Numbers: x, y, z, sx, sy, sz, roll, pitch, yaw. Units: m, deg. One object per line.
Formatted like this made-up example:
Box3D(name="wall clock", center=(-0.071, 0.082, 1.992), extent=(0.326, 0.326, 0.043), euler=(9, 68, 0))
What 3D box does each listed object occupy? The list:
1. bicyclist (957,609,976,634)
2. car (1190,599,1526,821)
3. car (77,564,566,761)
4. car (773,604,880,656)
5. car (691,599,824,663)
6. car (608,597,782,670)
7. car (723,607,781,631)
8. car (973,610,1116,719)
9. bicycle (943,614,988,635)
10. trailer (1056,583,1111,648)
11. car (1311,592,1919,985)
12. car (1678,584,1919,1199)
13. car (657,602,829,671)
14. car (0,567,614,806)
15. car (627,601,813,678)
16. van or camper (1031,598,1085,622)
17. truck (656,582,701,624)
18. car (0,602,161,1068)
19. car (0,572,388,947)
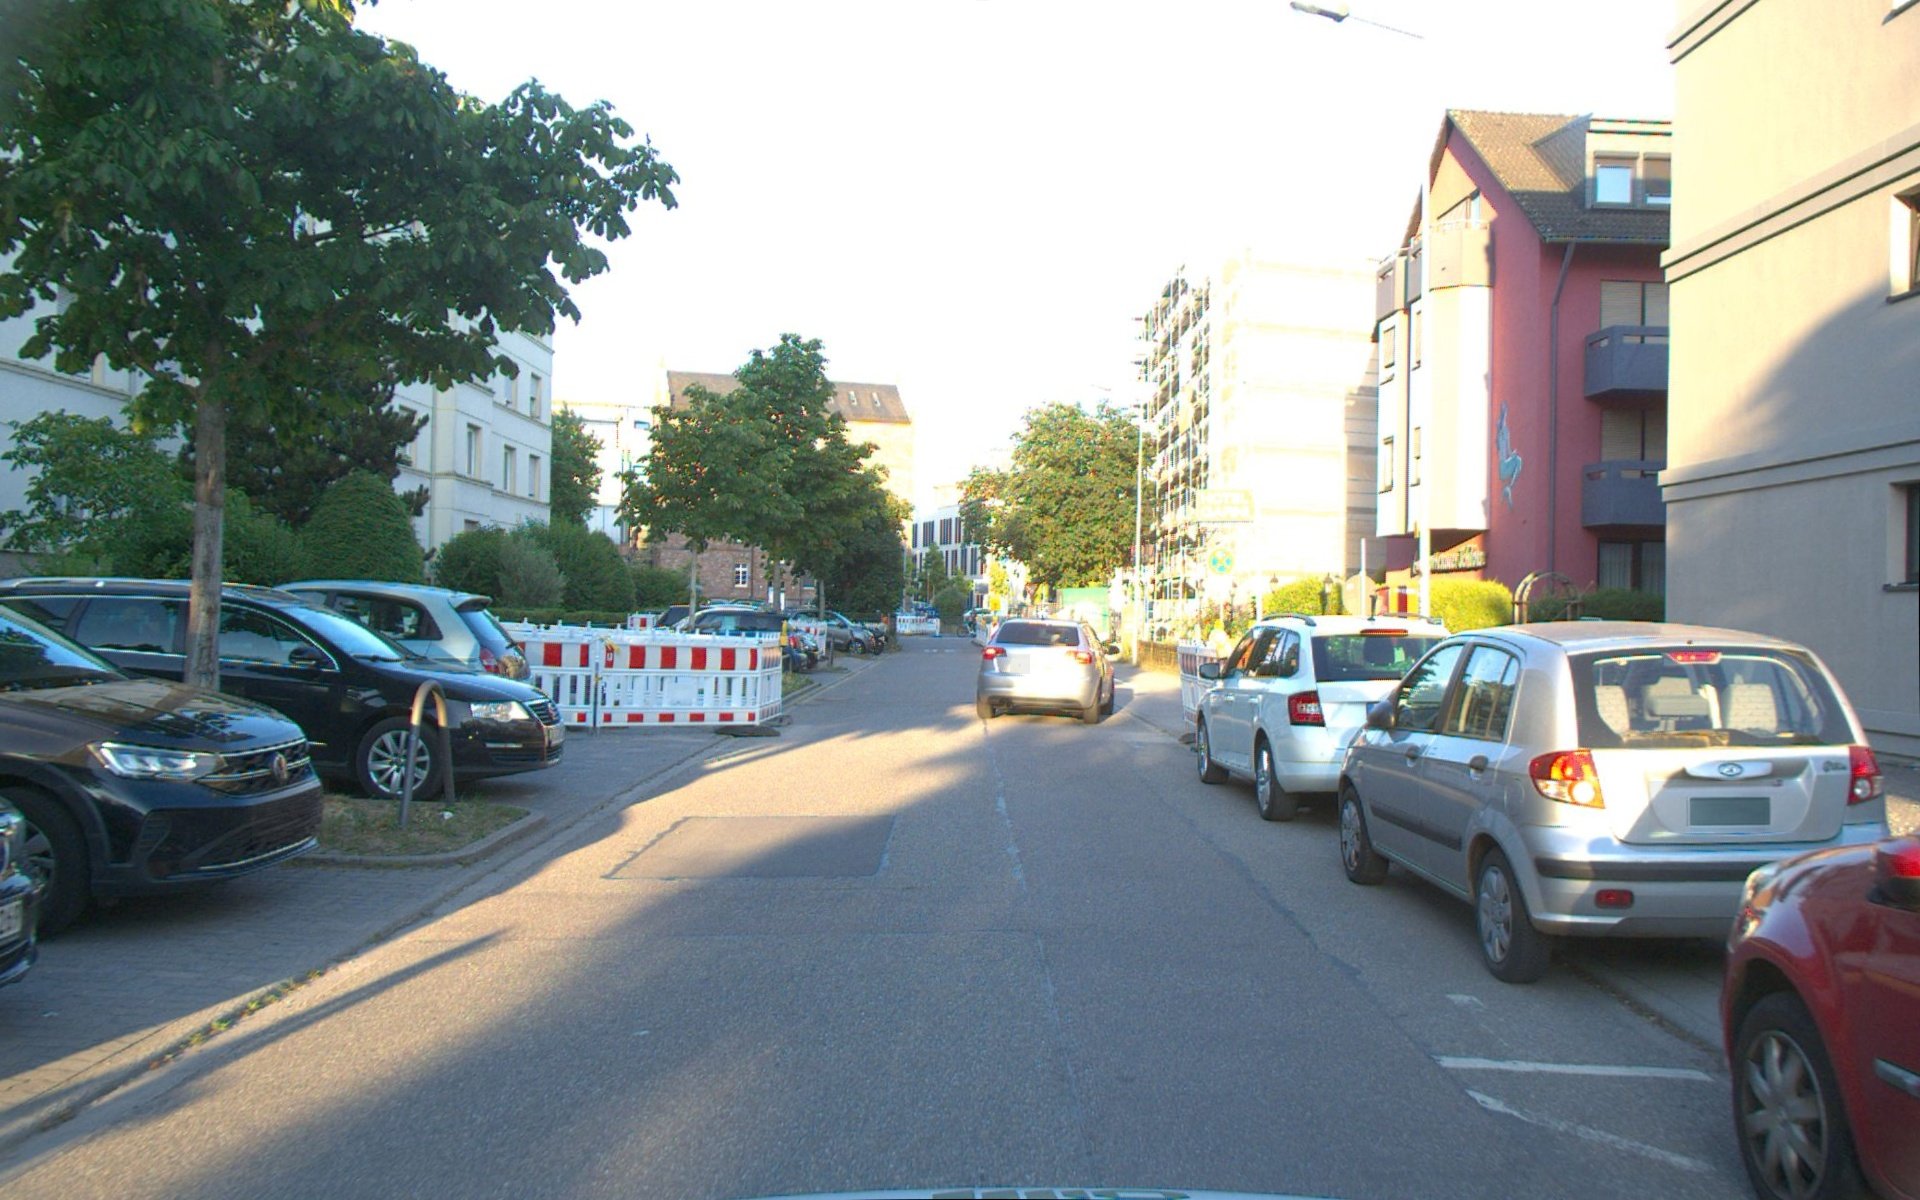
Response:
Box3D(name="bicyclist", center=(0.400, 1.314, 101.623), extent=(1.041, 1.483, 0.790), euler=(1, -1, -8))
Box3D(name="car", center=(2.986, 0.763, 13.235), extent=(1.582, 1.495, 3.995), euler=(1, 0, -2))
Box3D(name="car", center=(-5.592, 0.529, 14.803), extent=(3.623, 1.510, 1.728), euler=(2, 0, 2))
Box3D(name="car", center=(-4.700, 1.064, 58.523), extent=(3.550, 1.584, 1.693), euler=(4, -1, -1))
Box3D(name="car", center=(-5.457, 0.840, 44.915), extent=(3.405, 1.593, 1.727), euler=(2, -2, -3))
Box3D(name="car", center=(-6.001, 0.761, 37.715), extent=(3.601, 1.510, 1.728), euler=(2, -2, 2))
Box3D(name="car", center=(-13.656, 1.241, 108.719), extent=(3.573, 1.530, 1.630), euler=(1, 0, -17))
Box3D(name="car", center=(1.325, 0.876, 24.191), extent=(1.738, 1.421, 4.110), euler=(1, 0, 8))
Box3D(name="bicycle", center=(0.338, 1.519, 101.642), extent=(2.673, 1.240, 0.709), euler=(1, -1, -8))
Box3D(name="trailer", center=(5.068, 0.634, 68.198), extent=(1.952, 2.584, 4.186), euler=(1, 0, 0))
Box3D(name="car", center=(3.090, 0.743, 8.297), extent=(1.761, 1.495, 3.842), euler=(1, 0, -1))
Box3D(name="car", center=(2.901, 0.722, 2.870), extent=(1.705, 1.495, 3.759), euler=(1, 0, 1))
Box3D(name="car", center=(-5.280, 0.897, 40.612), extent=(3.895, 1.515, 1.728), euler=(2, -2, 2))
Box3D(name="car", center=(-5.043, 0.599, 12.476), extent=(4.414, 1.510, 1.728), euler=(2, 0, 2))
Box3D(name="car", center=(-5.045, 0.845, 35.084), extent=(3.601, 1.471, 1.728), euler=(2, -2, 2))
Box3D(name="van or camper", center=(9.287, 0.947, 156.795), extent=(4.892, 2.280, 1.676), euler=(0, -1, -22))
Box3D(name="truck", center=(-18.554, 0.193, 108.929), extent=(2.297, 2.662, 4.949), euler=(1, 0, -17))
Box3D(name="car", center=(-4.788, 0.652, 5.149), extent=(3.762, 1.409, 1.607), euler=(2, 0, 2))
Box3D(name="car", center=(-4.994, 0.603, 7.747), extent=(3.948, 1.510, 1.728), euler=(2, 0, 2))
